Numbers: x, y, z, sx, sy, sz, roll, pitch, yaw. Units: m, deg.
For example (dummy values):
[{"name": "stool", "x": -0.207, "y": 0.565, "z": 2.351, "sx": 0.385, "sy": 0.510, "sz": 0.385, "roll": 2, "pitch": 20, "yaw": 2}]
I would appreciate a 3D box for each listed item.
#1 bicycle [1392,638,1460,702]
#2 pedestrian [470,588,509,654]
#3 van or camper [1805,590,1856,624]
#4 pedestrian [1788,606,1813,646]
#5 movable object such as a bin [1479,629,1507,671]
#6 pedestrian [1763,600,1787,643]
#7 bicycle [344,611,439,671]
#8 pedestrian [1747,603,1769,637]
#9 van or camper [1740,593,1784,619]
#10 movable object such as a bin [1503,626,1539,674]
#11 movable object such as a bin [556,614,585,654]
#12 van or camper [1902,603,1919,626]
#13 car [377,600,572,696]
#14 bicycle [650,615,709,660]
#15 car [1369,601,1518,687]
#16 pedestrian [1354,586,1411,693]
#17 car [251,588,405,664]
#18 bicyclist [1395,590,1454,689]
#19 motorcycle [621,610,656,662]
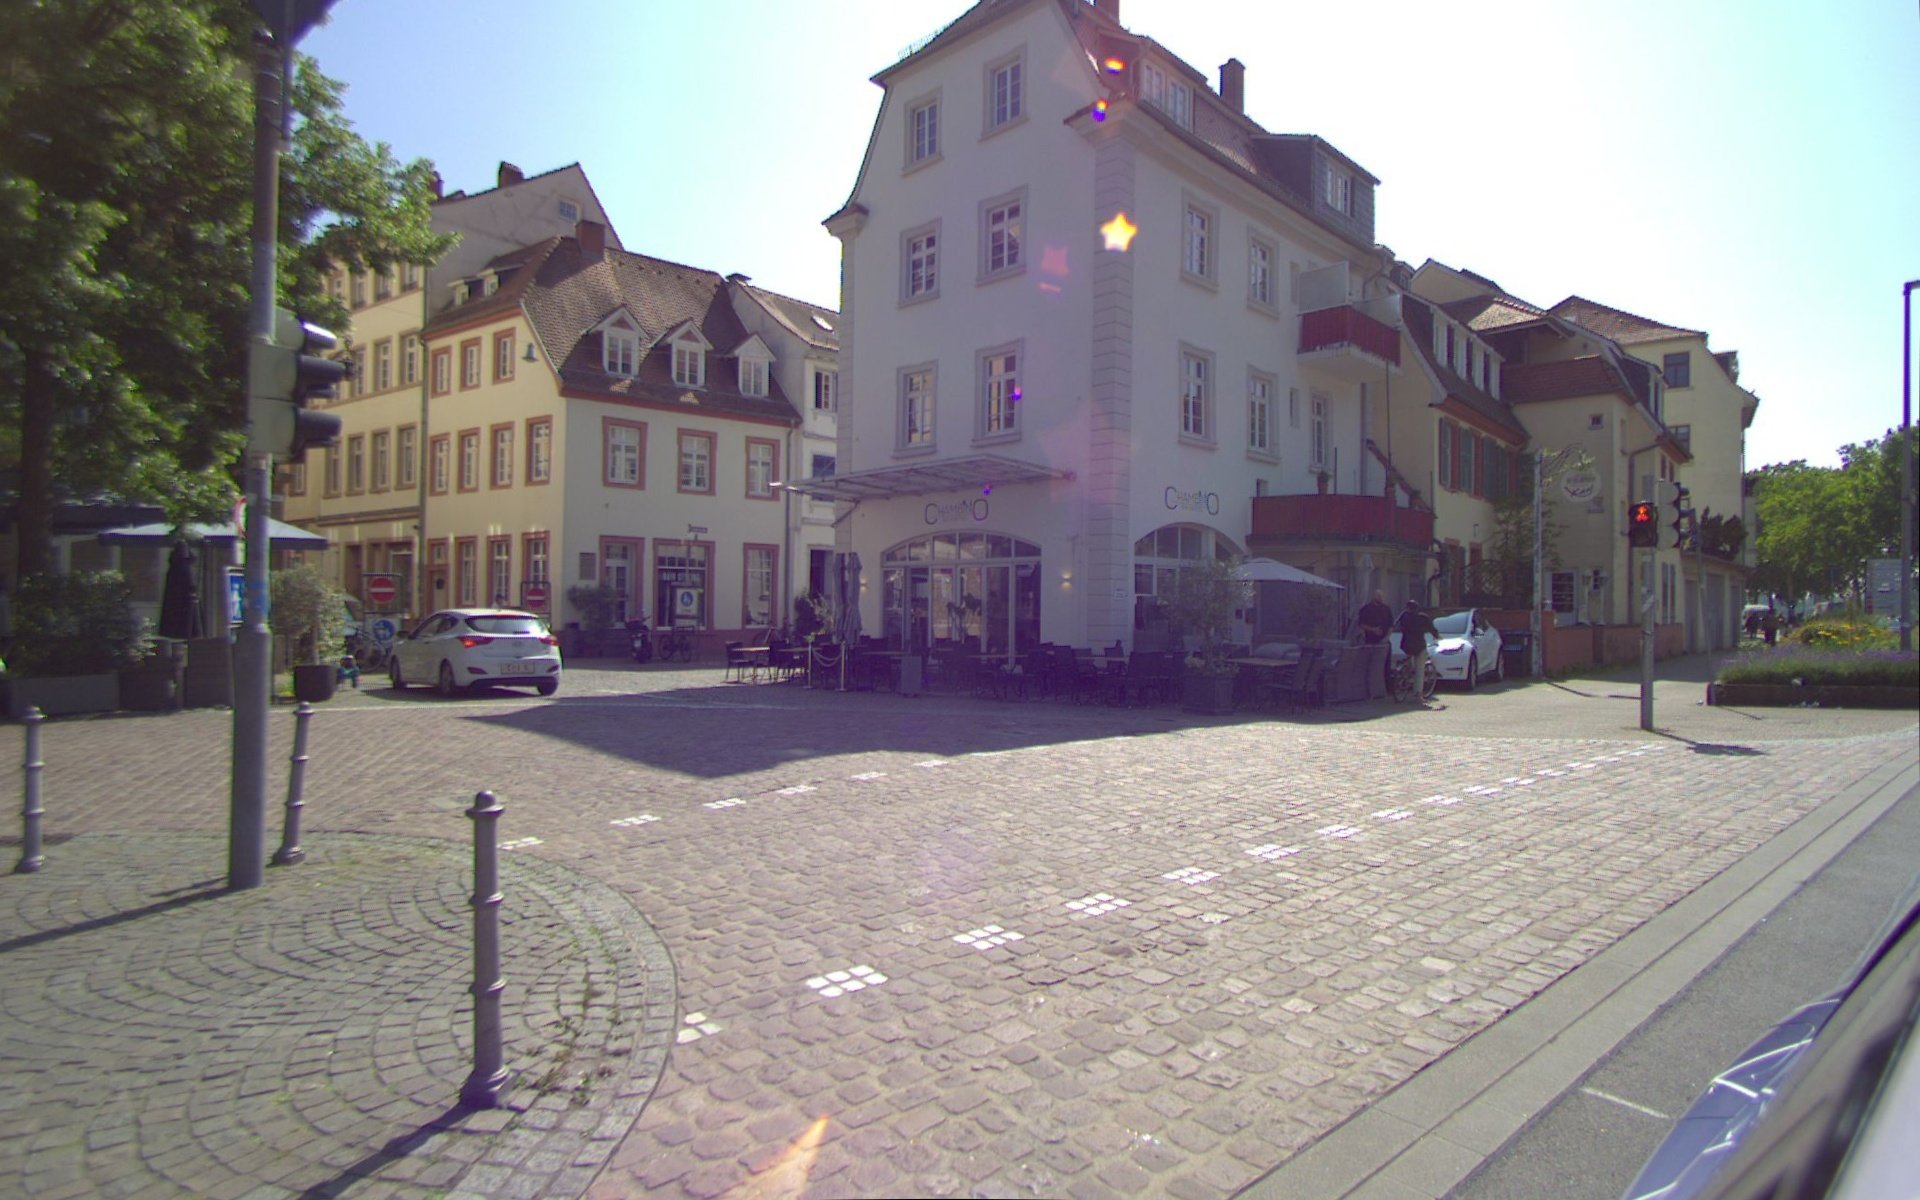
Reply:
[{"name": "bicycle", "x": 8.009, "y": 1.170, "z": 17.357, "sx": 0.747, "sy": 0.976, "sz": 1.759, "roll": 0, "pitch": 0, "yaw": 35}, {"name": "pedestrian", "x": -13.457, "y": 0.597, "z": 28.930, "sx": 0.693, "sy": 1.821, "sz": 0.753, "roll": 2, "pitch": 1, "yaw": 39}, {"name": "van or camper", "x": 70.991, "y": 0.548, "z": 82.628, "sx": 2.078, "sy": 2.589, "sz": 7.010, "roll": 0, "pitch": 0, "yaw": 32}, {"name": "pedestrian", "x": 34.352, "y": 1.050, "z": 41.371, "sx": 0.760, "sy": 1.615, "sz": 0.686, "roll": 0, "pitch": -1, "yaw": 39}, {"name": "movable object such as a bin", "x": 12.560, "y": 1.174, "z": 23.840, "sx": 0.315, "sy": 0.956, "sz": 0.495, "roll": 1, "pitch": 0, "yaw": -42}, {"name": "pedestrian", "x": 33.741, "y": 0.882, "z": 41.891, "sx": 0.736, "sy": 1.720, "sz": 0.920, "roll": 1, "pitch": 0, "yaw": 39}, {"name": "bicycle", "x": -12.994, "y": 0.924, "z": 23.164, "sx": 0.654, "sy": 1.296, "sz": 1.742, "roll": 1, "pitch": -1, "yaw": 36}, {"name": "pedestrian", "x": 41.713, "y": 1.054, "z": 52.931, "sx": 0.759, "sy": 1.734, "sz": 0.687, "roll": 4, "pitch": 2, "yaw": 35}, {"name": "van or camper", "x": 77.092, "y": 0.558, "z": 97.375, "sx": 2.419, "sy": 2.313, "sz": 6.137, "roll": 0, "pitch": 0, "yaw": 30}, {"name": "movable object such as a bin", "x": 12.967, "y": 1.153, "z": 23.408, "sx": 0.358, "sy": 1.081, "sz": 0.642, "roll": 1, "pitch": 0, "yaw": -42}, {"name": "movable object such as a bin", "x": -11.113, "y": 0.957, "z": 28.875, "sx": 0.588, "sy": 1.120, "sz": 0.669, "roll": 1, "pitch": 0, "yaw": -42}, {"name": "van or camper", "x": 64.682, "y": 0.992, "z": 67.490, "sx": 1.986, "sy": 1.473, "sz": 4.626, "roll": 1, "pitch": 0, "yaw": 33}, {"name": "car", "x": -8.512, "y": 0.797, "z": 17.598, "sx": 3.988, "sy": 1.474, "sz": 1.803, "roll": -1, "pitch": -3, "yaw": 45}, {"name": "bicycle", "x": -7.966, "y": 1.053, "z": 28.676, "sx": 1.871, "sy": 1.208, "sz": 0.630, "roll": 0, "pitch": -1, "yaw": 39}, {"name": "car", "x": 10.243, "y": 0.833, "z": 21.241, "sx": 1.873, "sy": 1.597, "sz": 4.662, "roll": 0, "pitch": 0, "yaw": 38}, {"name": "pedestrian", "x": 7.708, "y": 0.696, "z": 18.460, "sx": 0.761, "sy": 1.881, "sz": 0.601, "roll": 2, "pitch": 1, "yaw": 40}, {"name": "car", "x": -15.699, "y": 0.630, "z": 25.081, "sx": 3.977, "sy": 1.617, "sz": 1.826, "roll": 2, "pitch": -4, "yaw": 37}, {"name": "bicyclist", "x": 7.907, "y": 0.643, "z": 17.219, "sx": 0.763, "sy": 1.603, "sz": 1.076, "roll": 0, "pitch": 0, "yaw": 33}, {"name": "motorcycle", "x": -8.818, "y": 0.957, "z": 27.823, "sx": 0.748, "sy": 1.299, "sz": 2.333, "roll": 0, "pitch": 1, "yaw": -14}]
